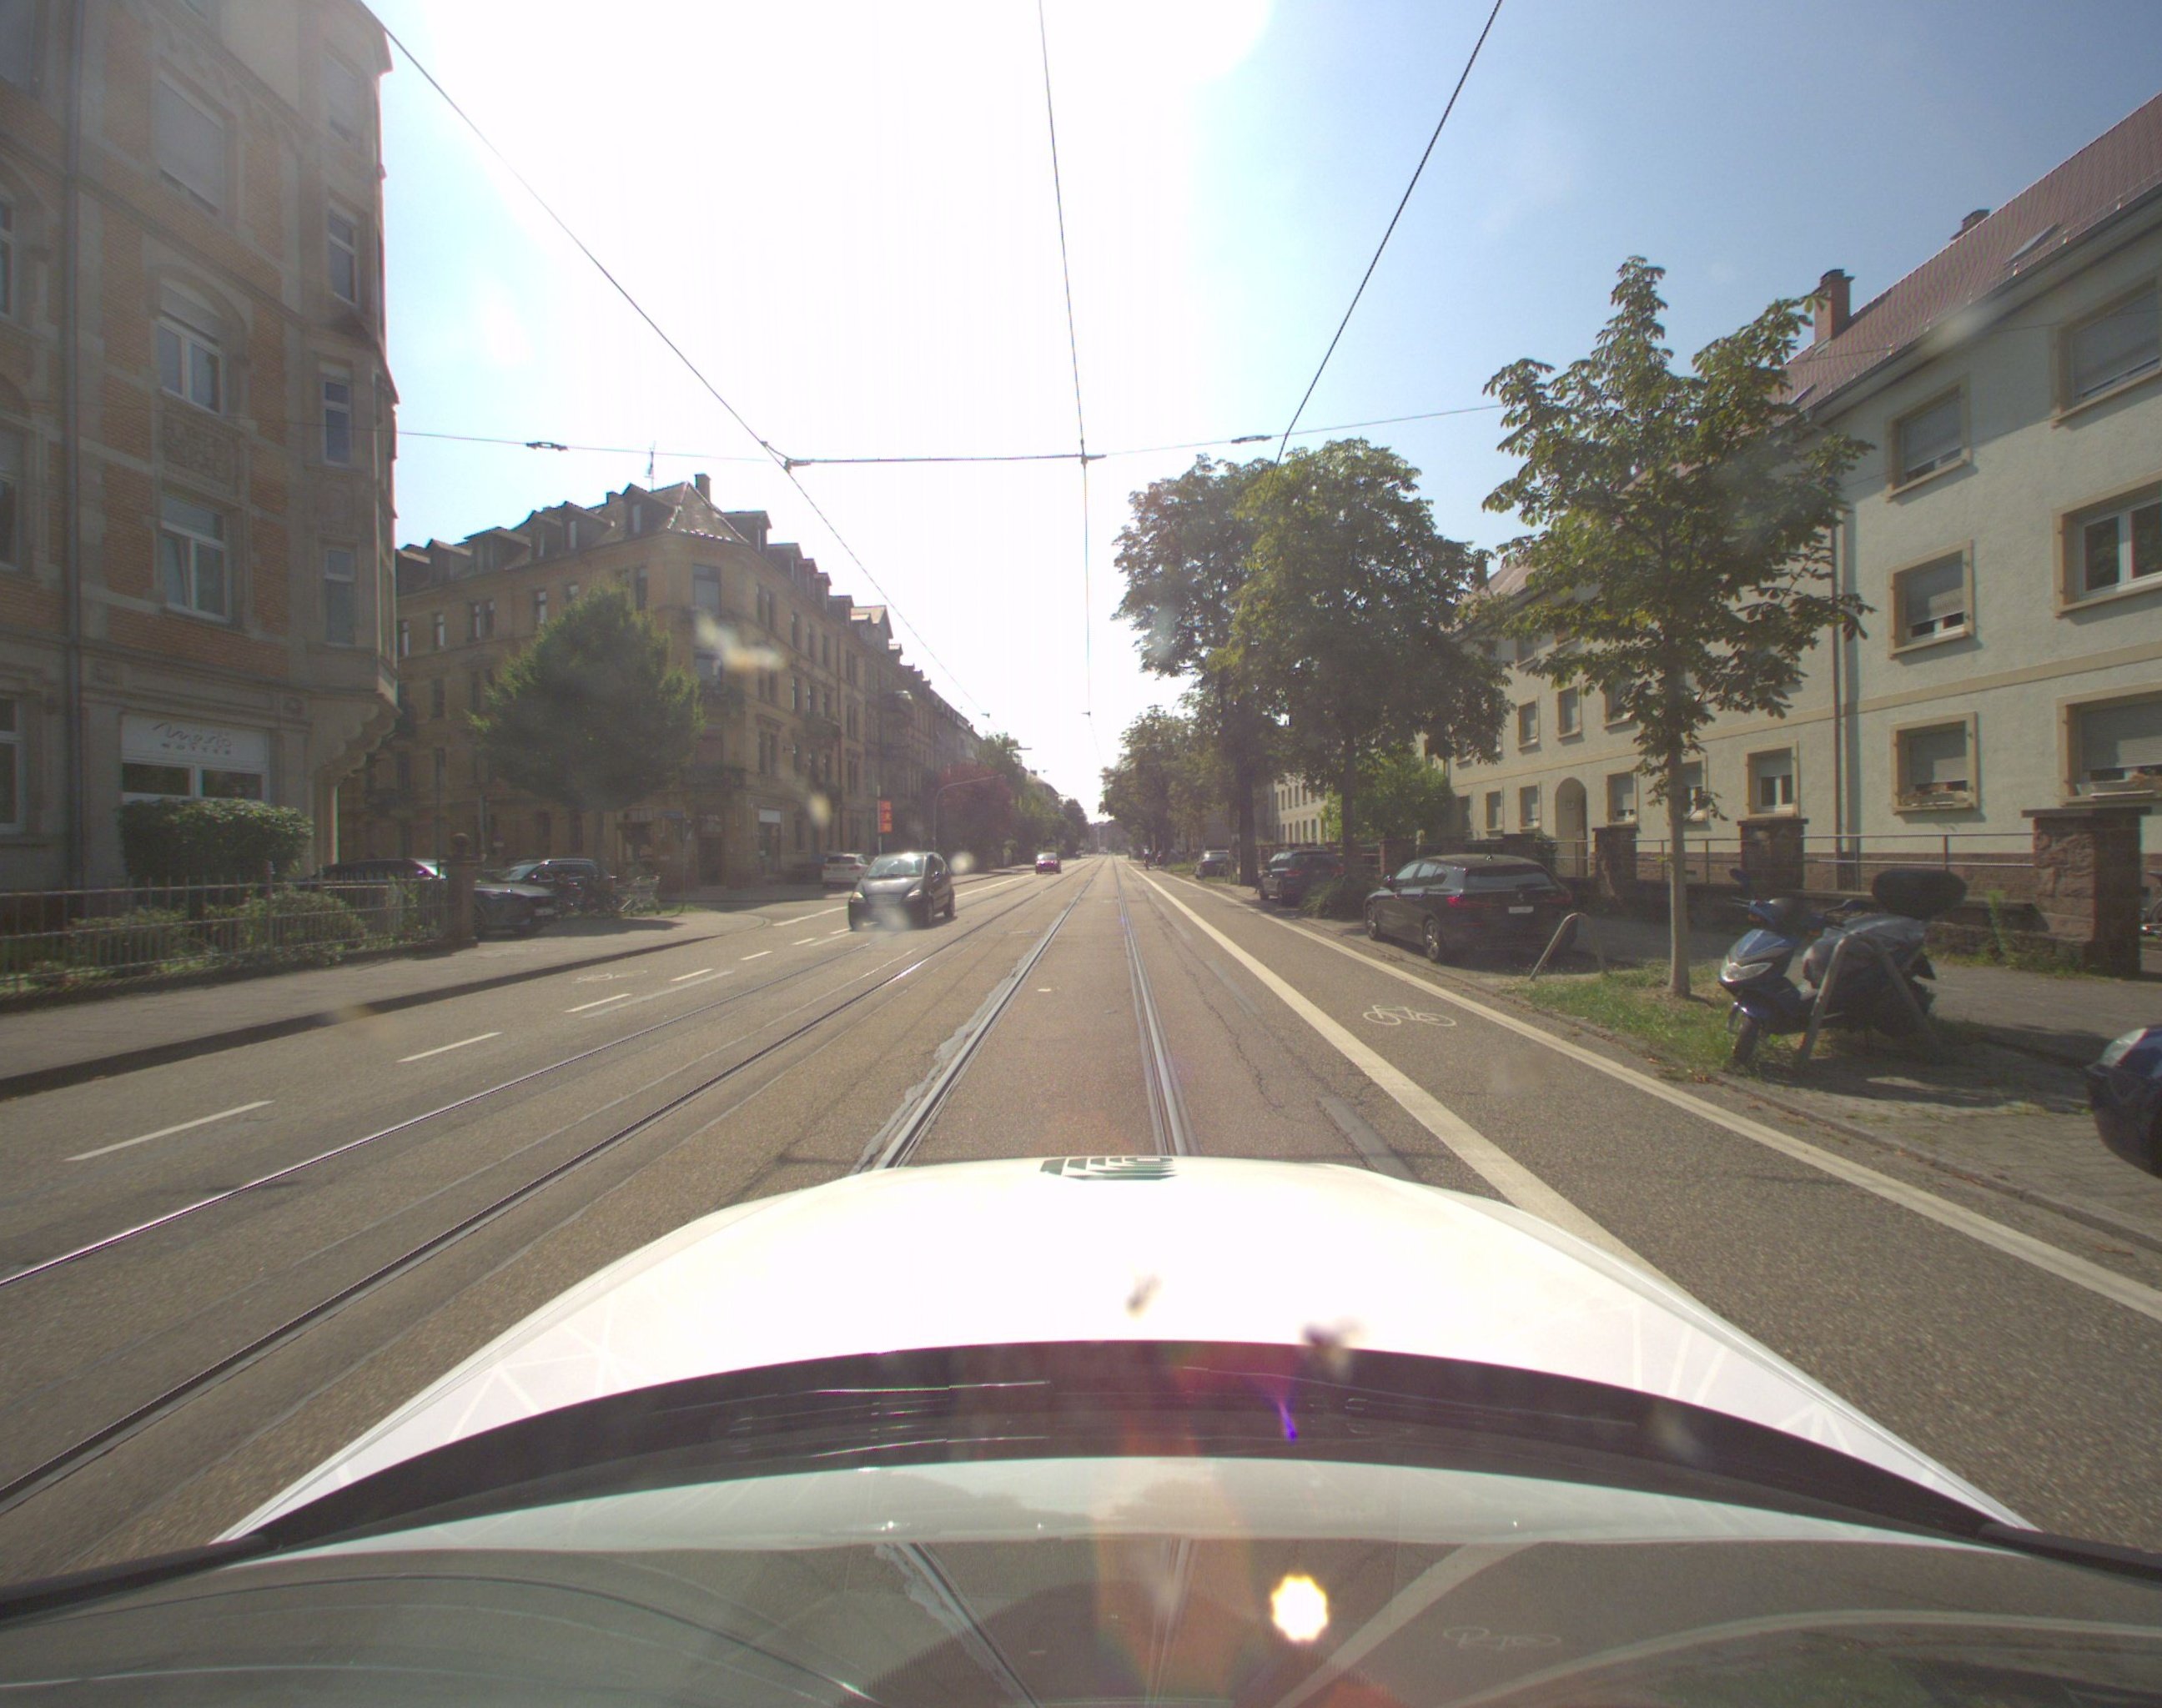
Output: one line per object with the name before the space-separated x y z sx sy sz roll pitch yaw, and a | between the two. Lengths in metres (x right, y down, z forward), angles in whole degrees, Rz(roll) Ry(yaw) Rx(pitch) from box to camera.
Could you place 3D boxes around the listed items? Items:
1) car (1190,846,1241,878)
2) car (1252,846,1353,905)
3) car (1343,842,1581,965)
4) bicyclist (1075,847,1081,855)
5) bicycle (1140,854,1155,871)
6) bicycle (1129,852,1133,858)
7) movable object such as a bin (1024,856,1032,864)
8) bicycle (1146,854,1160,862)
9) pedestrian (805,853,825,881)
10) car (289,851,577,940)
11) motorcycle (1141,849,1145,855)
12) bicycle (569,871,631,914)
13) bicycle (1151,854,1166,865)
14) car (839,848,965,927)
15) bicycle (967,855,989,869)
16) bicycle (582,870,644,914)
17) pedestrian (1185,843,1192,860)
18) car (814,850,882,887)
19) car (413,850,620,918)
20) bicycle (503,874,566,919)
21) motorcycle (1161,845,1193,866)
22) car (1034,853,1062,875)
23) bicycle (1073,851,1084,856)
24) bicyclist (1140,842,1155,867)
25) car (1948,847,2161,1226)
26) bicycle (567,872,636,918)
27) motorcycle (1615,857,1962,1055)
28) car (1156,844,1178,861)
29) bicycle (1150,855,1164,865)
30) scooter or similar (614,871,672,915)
car | 6.758 0.375 41.395 1.885 1.477 4.842 -1 0 2
car | 6.119 0.524 23.017 1.749 1.477 4.388 -1 0 1
car | 5.699 0.654 12.886 1.748 1.477 4.460 -5 0 2
bicyclist | -0.483 -0.505 149.156 0.751 1.391 0.784 -1 -1 38
bicycle | 5.120 0.621 62.823 1.143 1.269 2.715 -1 0 4
bicycle | 8.029 0.229 131.145 0.585 0.939 2.174 -1 0 5
movable object such as a bin | -6.673 0.741 102.372 0.783 1.075 0.804 0 0 5
bicycle | 9.525 0.547 107.685 1.706 1.032 0.567 -1 0 2
pedestrian | -14.632 0.694 44.808 0.866 1.511 0.884 -1 0 -6
car | -12.314 0.746 15.649 4.084 1.594 1.881 0 0 3
motorcycle | 11.353 -0.361 149.572 0.546 1.068 2.332 -1 0 2
bicycle | -13.244 1.031 22.455 0.385 1.099 1.460 0 1 27
bicycle | 8.920 0.632 93.662 1.712 1.149 0.378 -1 0 8
car | -3.905 0.671 18.468 1.820 1.540 4.002 -2 0 2
bicycle | -8.820 0.666 69.794 1.804 1.182 0.717 0 0 4
bicycle | -12.652 1.017 22.063 0.385 1.099 1.460 0 1 27
pedestrian | 11.865 -0.275 90.257 0.703 1.892 0.715 -1 -1 3
car | -10.845 0.626 38.210 1.988 1.594 4.357 -1 0 -1
car | -15.771 0.771 23.058 1.976 1.688 4.383 -1 0 23
bicycle | -13.621 1.048 20.302 1.437 1.099 0.392 0 0 13
motorcycle | 7.599 0.096 64.367 2.316 1.540 0.975 -4 -2 43
car | -2.378 0.685 59.776 1.725 1.490 4.002 -2 0 2
bicycle | -0.466 -0.101 149.165 0.751 0.991 2.312 -1 0 38
bicyclist | 5.085 0.032 62.602 1.121 1.837 0.956 -1 -1 2
car | 5.055 0.728 2.007 1.610 1.477 4.041 -2 0 2
bicycle | -12.142 1.039 20.662 1.452 1.099 0.388 -1 1 -21
motorcycle | 5.363 0.735 6.265 1.998 1.368 0.782 -1 0 -1
car | 8.402 -0.138 79.957 1.833 1.532 4.117 -1 2 2
bicycle | 8.692 0.644 93.294 1.596 1.103 0.399 -1 0 8
scooter or similar | -11.807 1.021 21.994 0.592 1.099 1.394 0 1 12
